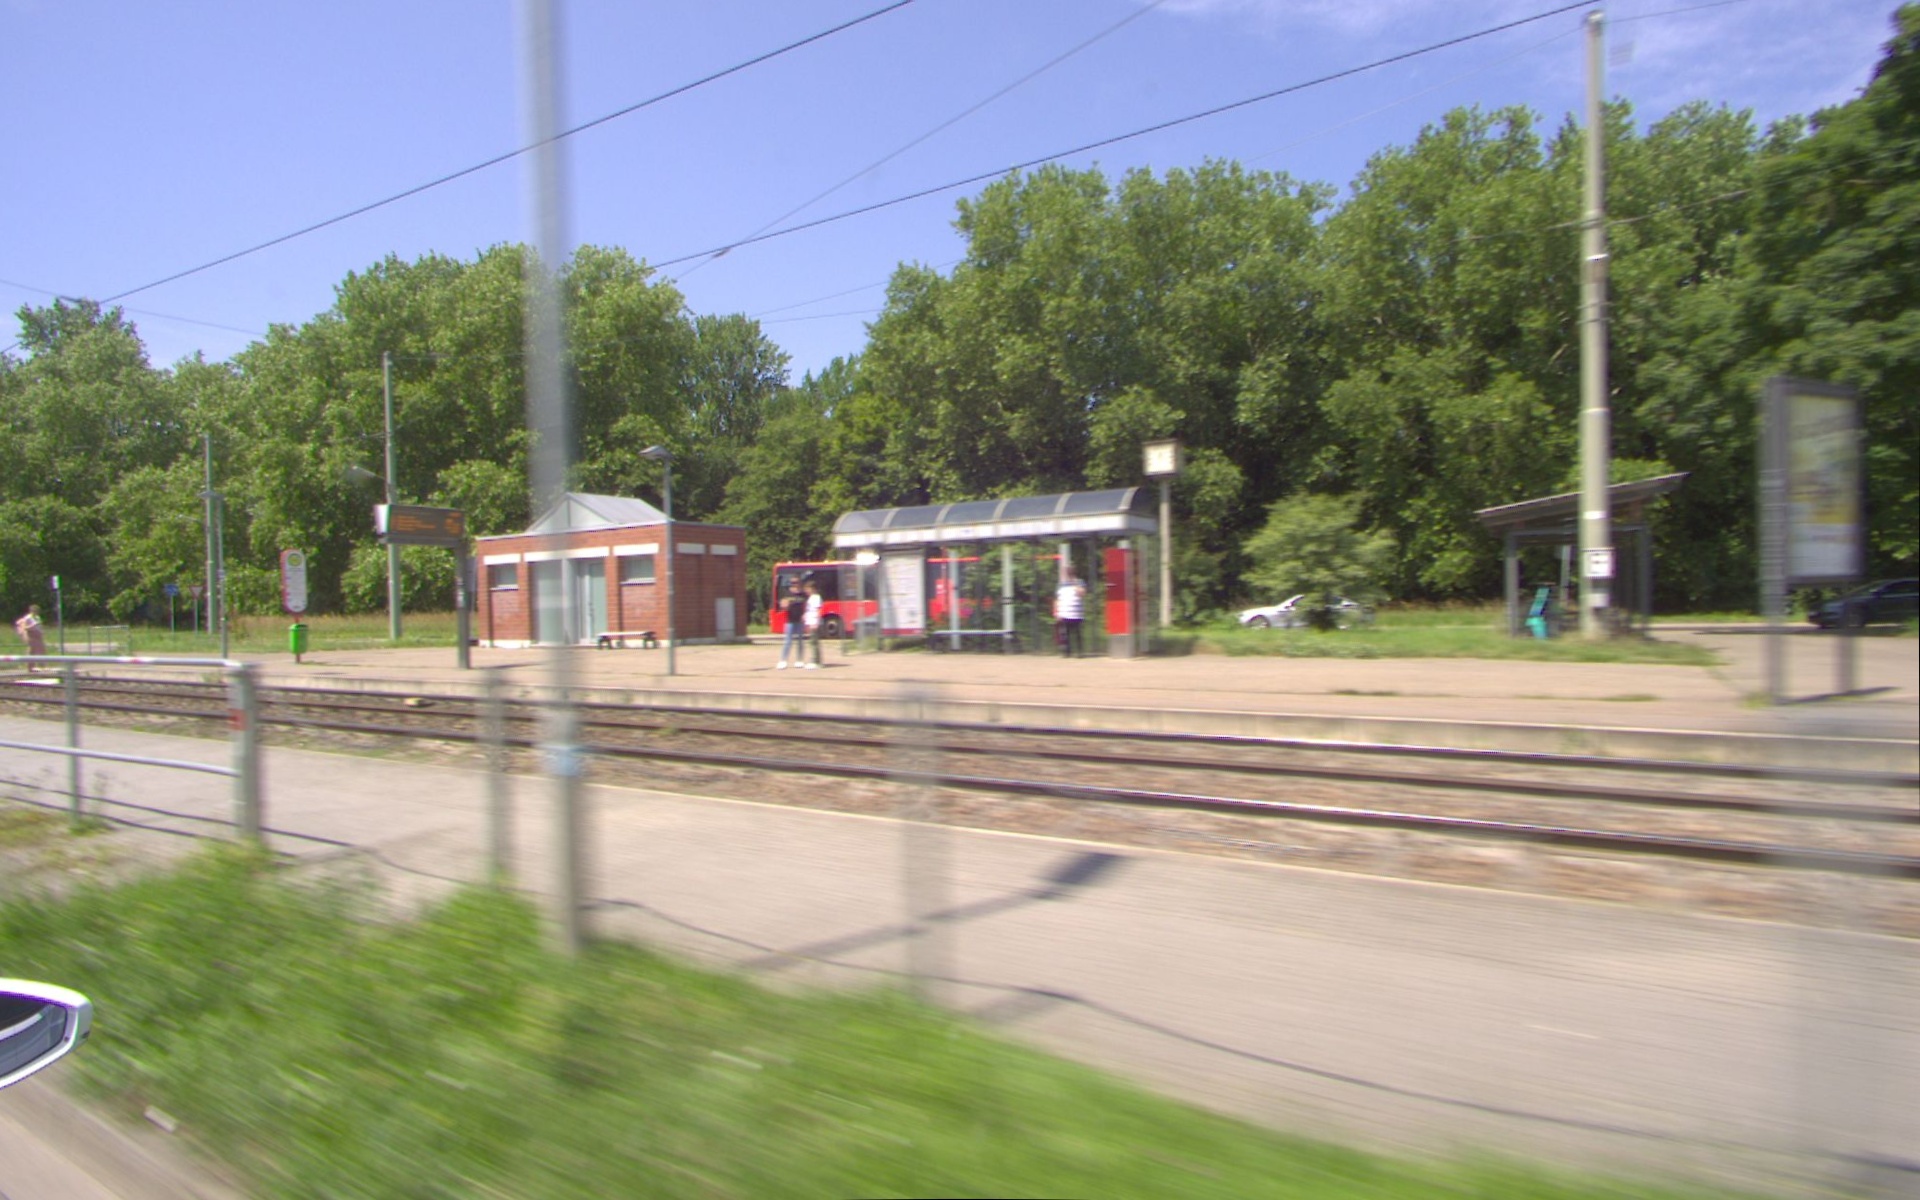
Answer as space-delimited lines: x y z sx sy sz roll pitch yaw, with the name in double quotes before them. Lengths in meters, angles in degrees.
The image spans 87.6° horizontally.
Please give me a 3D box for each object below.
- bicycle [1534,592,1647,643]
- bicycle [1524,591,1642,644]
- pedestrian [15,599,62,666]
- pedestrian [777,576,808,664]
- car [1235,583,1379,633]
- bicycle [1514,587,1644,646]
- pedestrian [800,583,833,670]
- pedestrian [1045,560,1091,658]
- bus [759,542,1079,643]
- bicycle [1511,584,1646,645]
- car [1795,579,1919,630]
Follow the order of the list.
"bicycle" 14.493 0.382 23.066 2.159 1.102 0.596 1 2 33
"bicycle" 13.757 0.363 22.155 2.159 1.102 0.596 1 2 33
"pedestrian" -24.707 0.875 26.857 0.802 1.782 0.635 -1 -1 19
"pedestrian" -3.193 0.386 19.087 0.439 1.667 0.359 -2 -1 35
"car" 12.351 0.281 35.968 4.637 1.650 1.998 -1 0 11
"bicycle" 12.354 0.310 20.041 2.159 1.102 0.596 1 2 33
"pedestrian" -2.701 0.507 18.858 0.476 1.617 0.359 -2 -1 35
"pedestrian" 2.014 0.175 18.738 0.730 1.797 0.380 -2 -1 35
"bus" -1.622 -0.189 39.251 12.213 3.482 2.767 -1 -1 13
"bicycle" 11.878 0.253 19.282 2.159 1.102 0.596 1 2 33
"car" 29.530 0.125 32.016 3.925 1.531 1.886 -1 0 13
